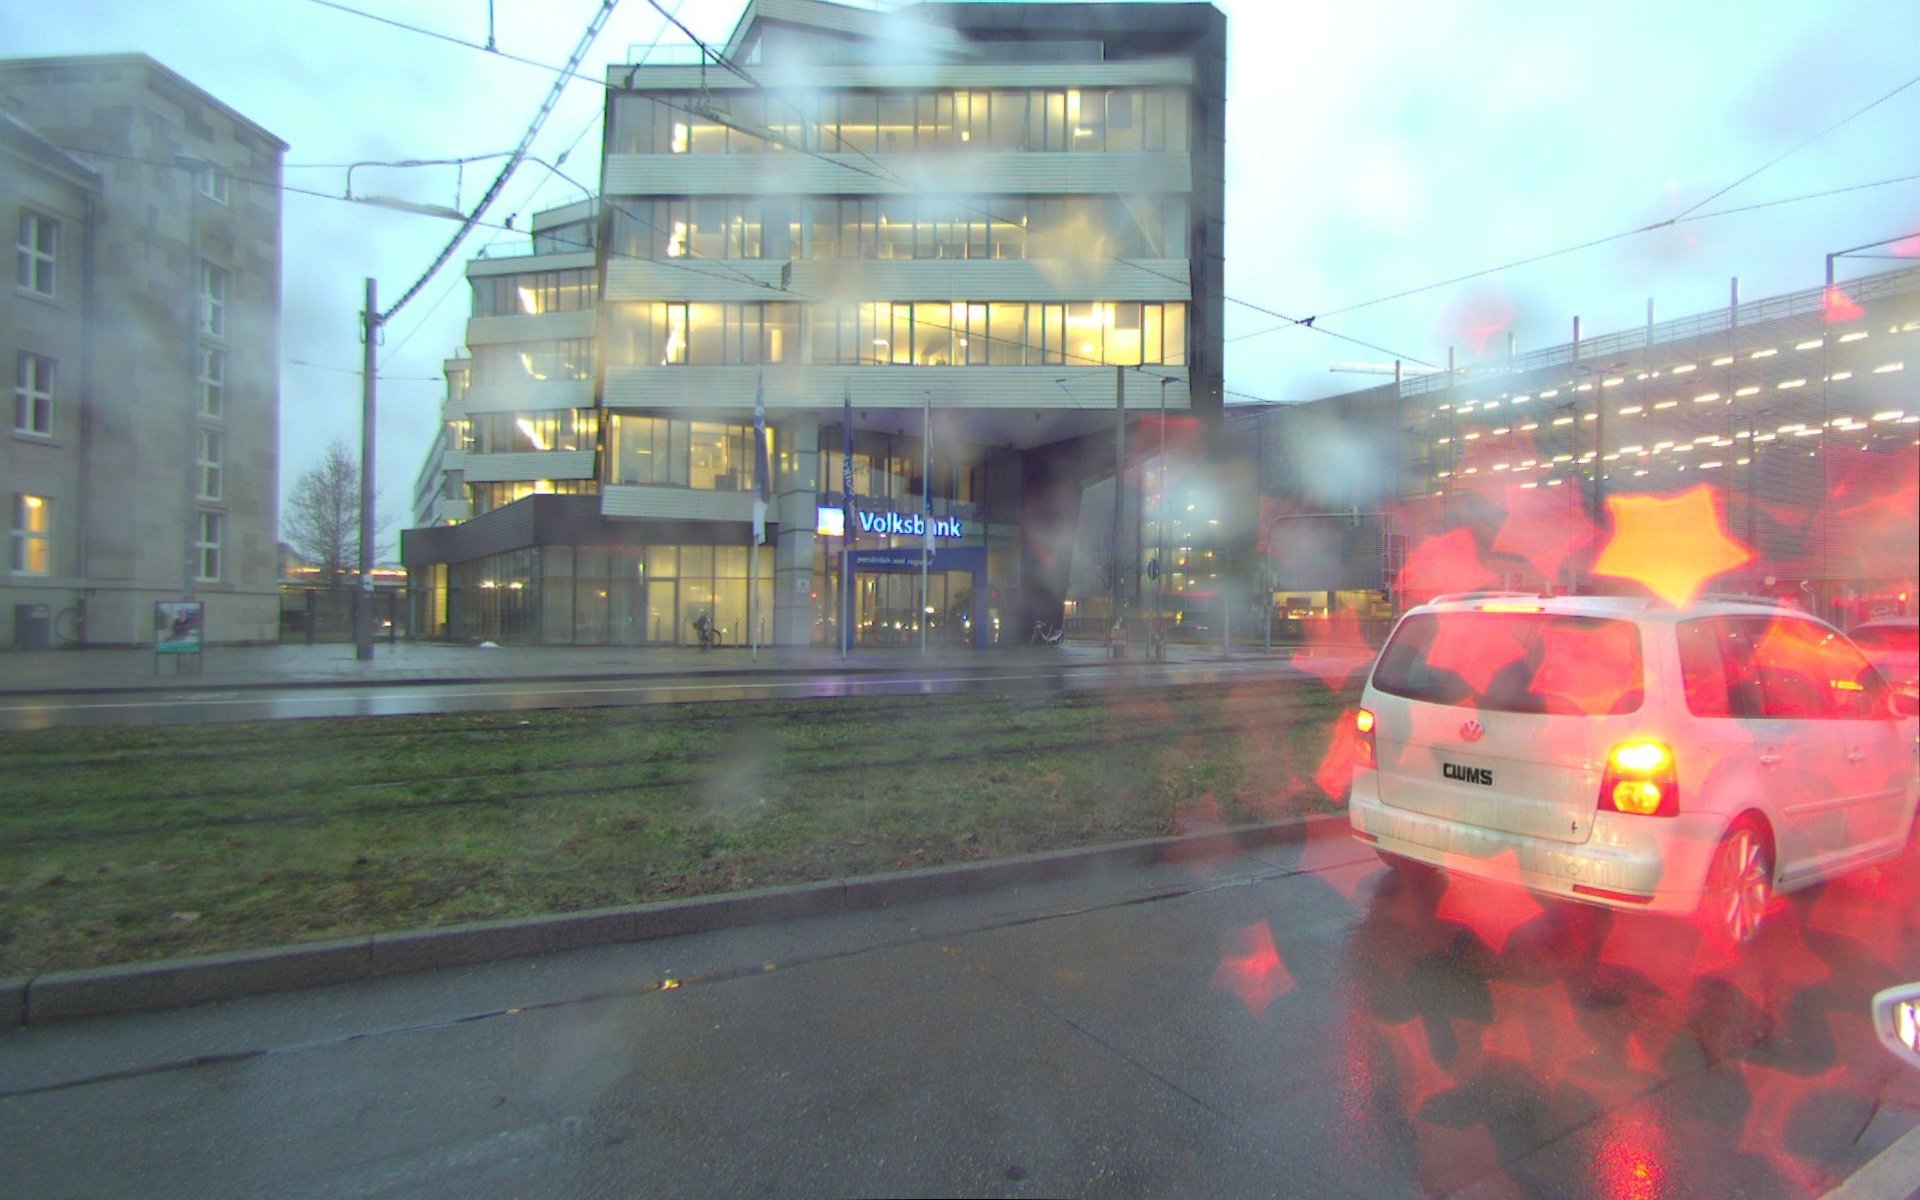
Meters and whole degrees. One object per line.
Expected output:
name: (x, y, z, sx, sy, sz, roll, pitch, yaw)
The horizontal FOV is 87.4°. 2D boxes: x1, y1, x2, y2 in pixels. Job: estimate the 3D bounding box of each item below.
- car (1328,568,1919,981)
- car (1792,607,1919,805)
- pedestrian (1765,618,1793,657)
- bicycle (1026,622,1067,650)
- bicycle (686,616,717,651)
car: (4.150, 0.732, 5.803, 4.177, 1.620, 1.662, 1, -1, -33)
car: (9.503, 0.890, 9.286, 4.320, 1.591, 1.808, 1, -1, -36)
pedestrian: (53.490, 2.467, 65.636, 0.955, 2.471, 1.105, 2, 0, -30)
bicycle: (3.464, 1.431, 40.144, 1.582, 1.084, 0.637, 0, -1, -31)
bicycle: (-8.764, 1.127, 34.104, 0.518, 1.142, 1.498, 0, -1, 6)
